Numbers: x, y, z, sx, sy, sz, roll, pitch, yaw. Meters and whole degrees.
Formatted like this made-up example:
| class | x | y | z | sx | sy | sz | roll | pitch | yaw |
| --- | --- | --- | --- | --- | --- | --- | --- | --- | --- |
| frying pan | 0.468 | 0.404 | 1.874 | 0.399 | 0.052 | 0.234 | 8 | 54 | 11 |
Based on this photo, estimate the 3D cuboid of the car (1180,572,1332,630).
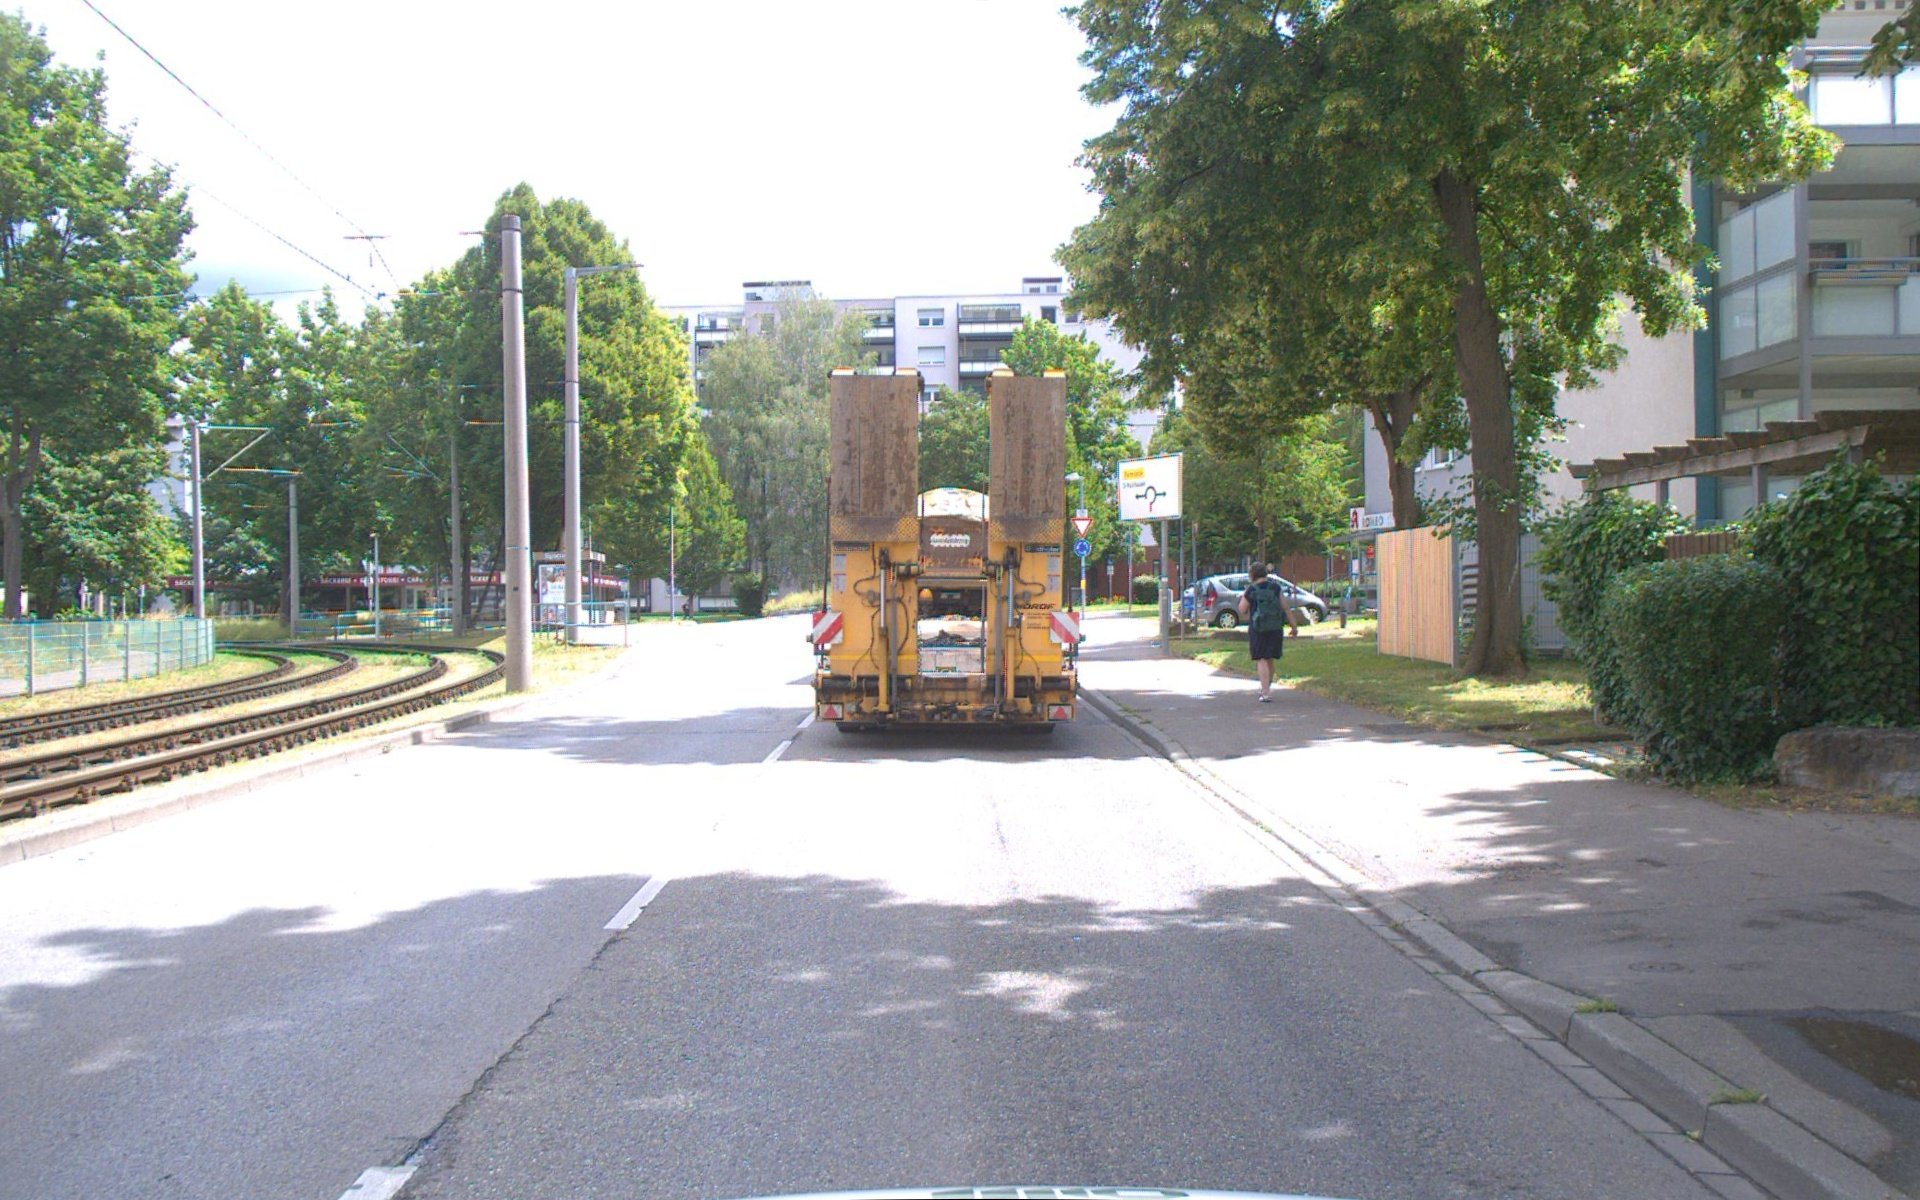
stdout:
| class | x | y | z | sx | sy | sz | roll | pitch | yaw |
| --- | --- | --- | --- | --- | --- | --- | --- | --- | --- |
| car | 8.463 | 0.019 | 47.314 | 3.918 | 1.588 | 1.754 | 1 | 0 | -13 |

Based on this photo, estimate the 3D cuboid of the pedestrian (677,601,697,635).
| class | x | y | z | sx | sy | sz | roll | pitch | yaw |
| --- | --- | --- | --- | --- | --- | --- | --- | --- | --- |
| pedestrian | -16.429 | 1.072 | 99.534 | 0.898 | 2.049 | 0.952 | 1 | 0 | -32 |

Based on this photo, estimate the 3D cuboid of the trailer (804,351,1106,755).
| class | x | y | z | sx | sy | sz | roll | pitch | yaw |
| --- | --- | --- | --- | --- | --- | --- | --- | --- | --- |
| trailer | -0.507 | -0.461 | 21.507 | 2.772 | 3.709 | 12.343 | 1 | 0 | -4 |

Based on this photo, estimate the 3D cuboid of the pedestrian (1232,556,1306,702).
| class | x | y | z | sx | sy | sz | roll | pitch | yaw |
| --- | --- | --- | --- | --- | --- | --- | --- | --- | --- |
| pedestrian | 3.792 | 0.340 | 20.337 | 0.703 | 1.736 | 0.766 | -2 | 1 | -1 |

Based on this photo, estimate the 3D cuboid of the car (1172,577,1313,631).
| class | x | y | z | sx | sy | sz | roll | pitch | yaw |
| --- | --- | --- | --- | --- | --- | --- | --- | --- | --- |
| car | 8.667 | 0.133 | 50.846 | 3.918 | 1.588 | 1.754 | 1 | 0 | -13 |
